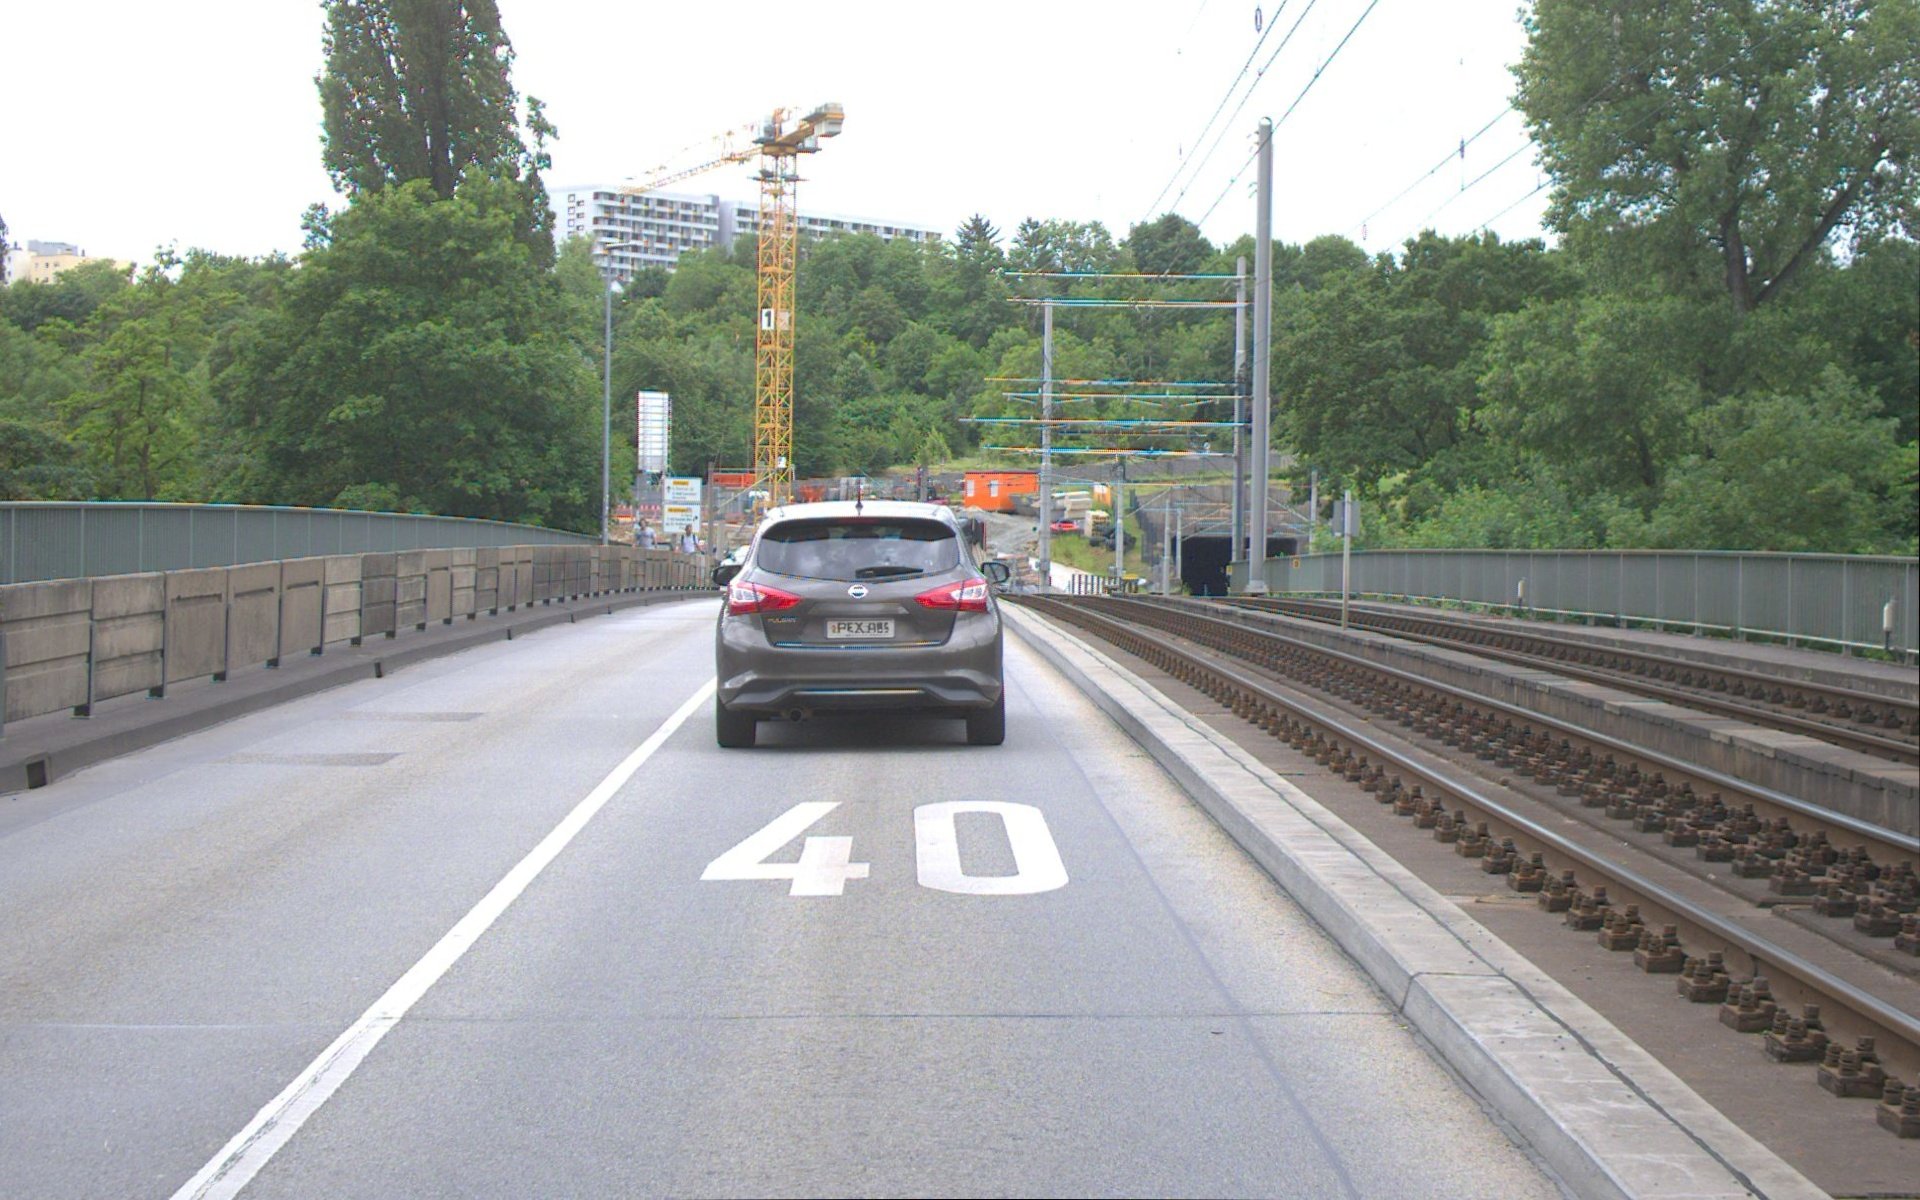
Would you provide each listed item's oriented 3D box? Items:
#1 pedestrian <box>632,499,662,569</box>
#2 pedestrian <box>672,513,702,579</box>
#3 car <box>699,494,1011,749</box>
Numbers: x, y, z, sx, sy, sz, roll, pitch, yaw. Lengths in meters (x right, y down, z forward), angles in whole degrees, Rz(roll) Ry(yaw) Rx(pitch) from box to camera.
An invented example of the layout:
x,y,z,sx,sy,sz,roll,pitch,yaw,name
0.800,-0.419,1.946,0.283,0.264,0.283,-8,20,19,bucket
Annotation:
x,y,z,sx,sy,sz,roll,pitch,yaw,name
-8.235,-1.738,90.493,0.721,1.833,0.723,1,1,-1,pedestrian
-7.112,-1.403,89.665,0.721,1.695,0.723,1,1,-1,pedestrian
-0.770,0.110,22.337,1.829,1.505,4.001,0,1,-4,car
